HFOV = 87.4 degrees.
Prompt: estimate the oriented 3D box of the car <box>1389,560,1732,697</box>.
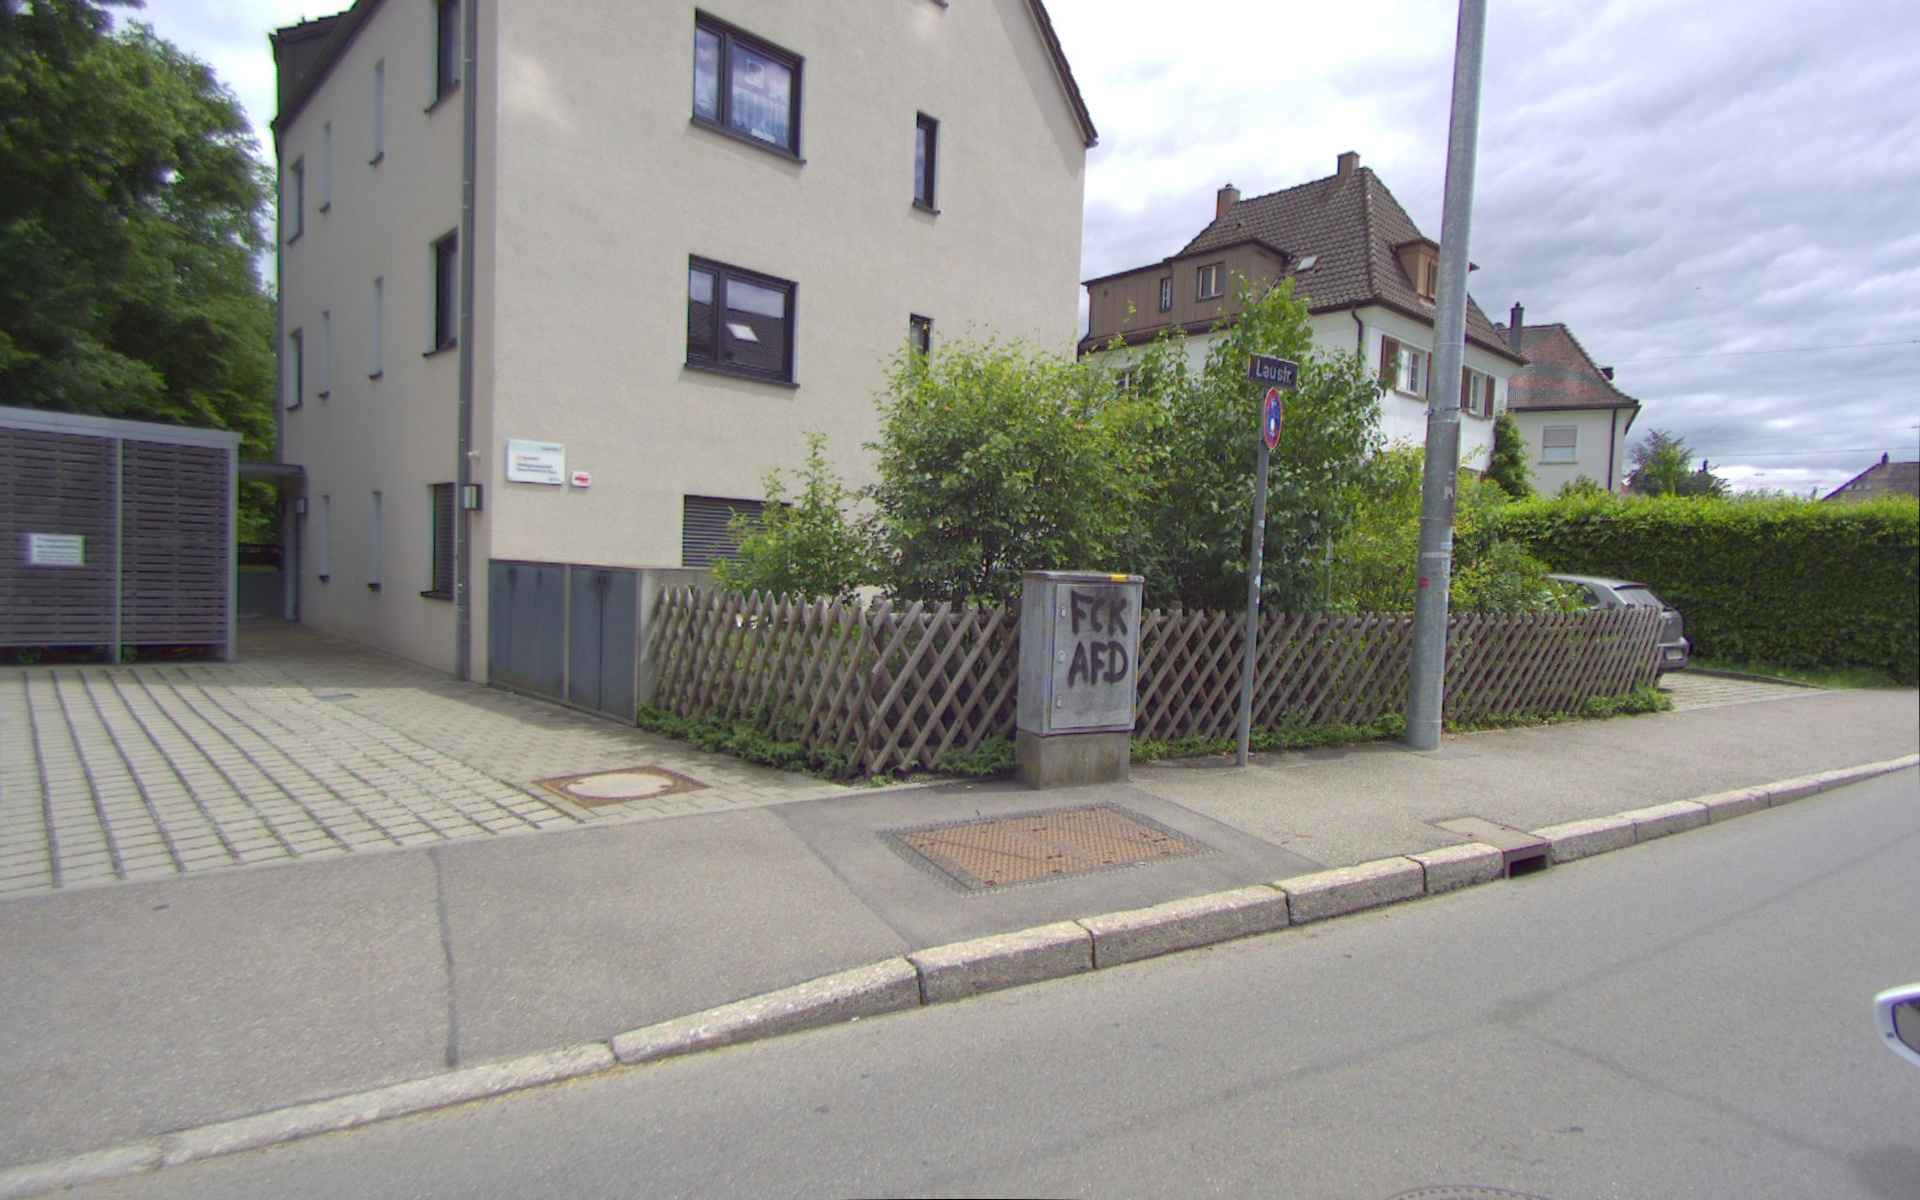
[{"bbox_3d":[8.273,0.305,14.151,1.797,1.453,3.650,1,4,-32],"label":"car"}]
